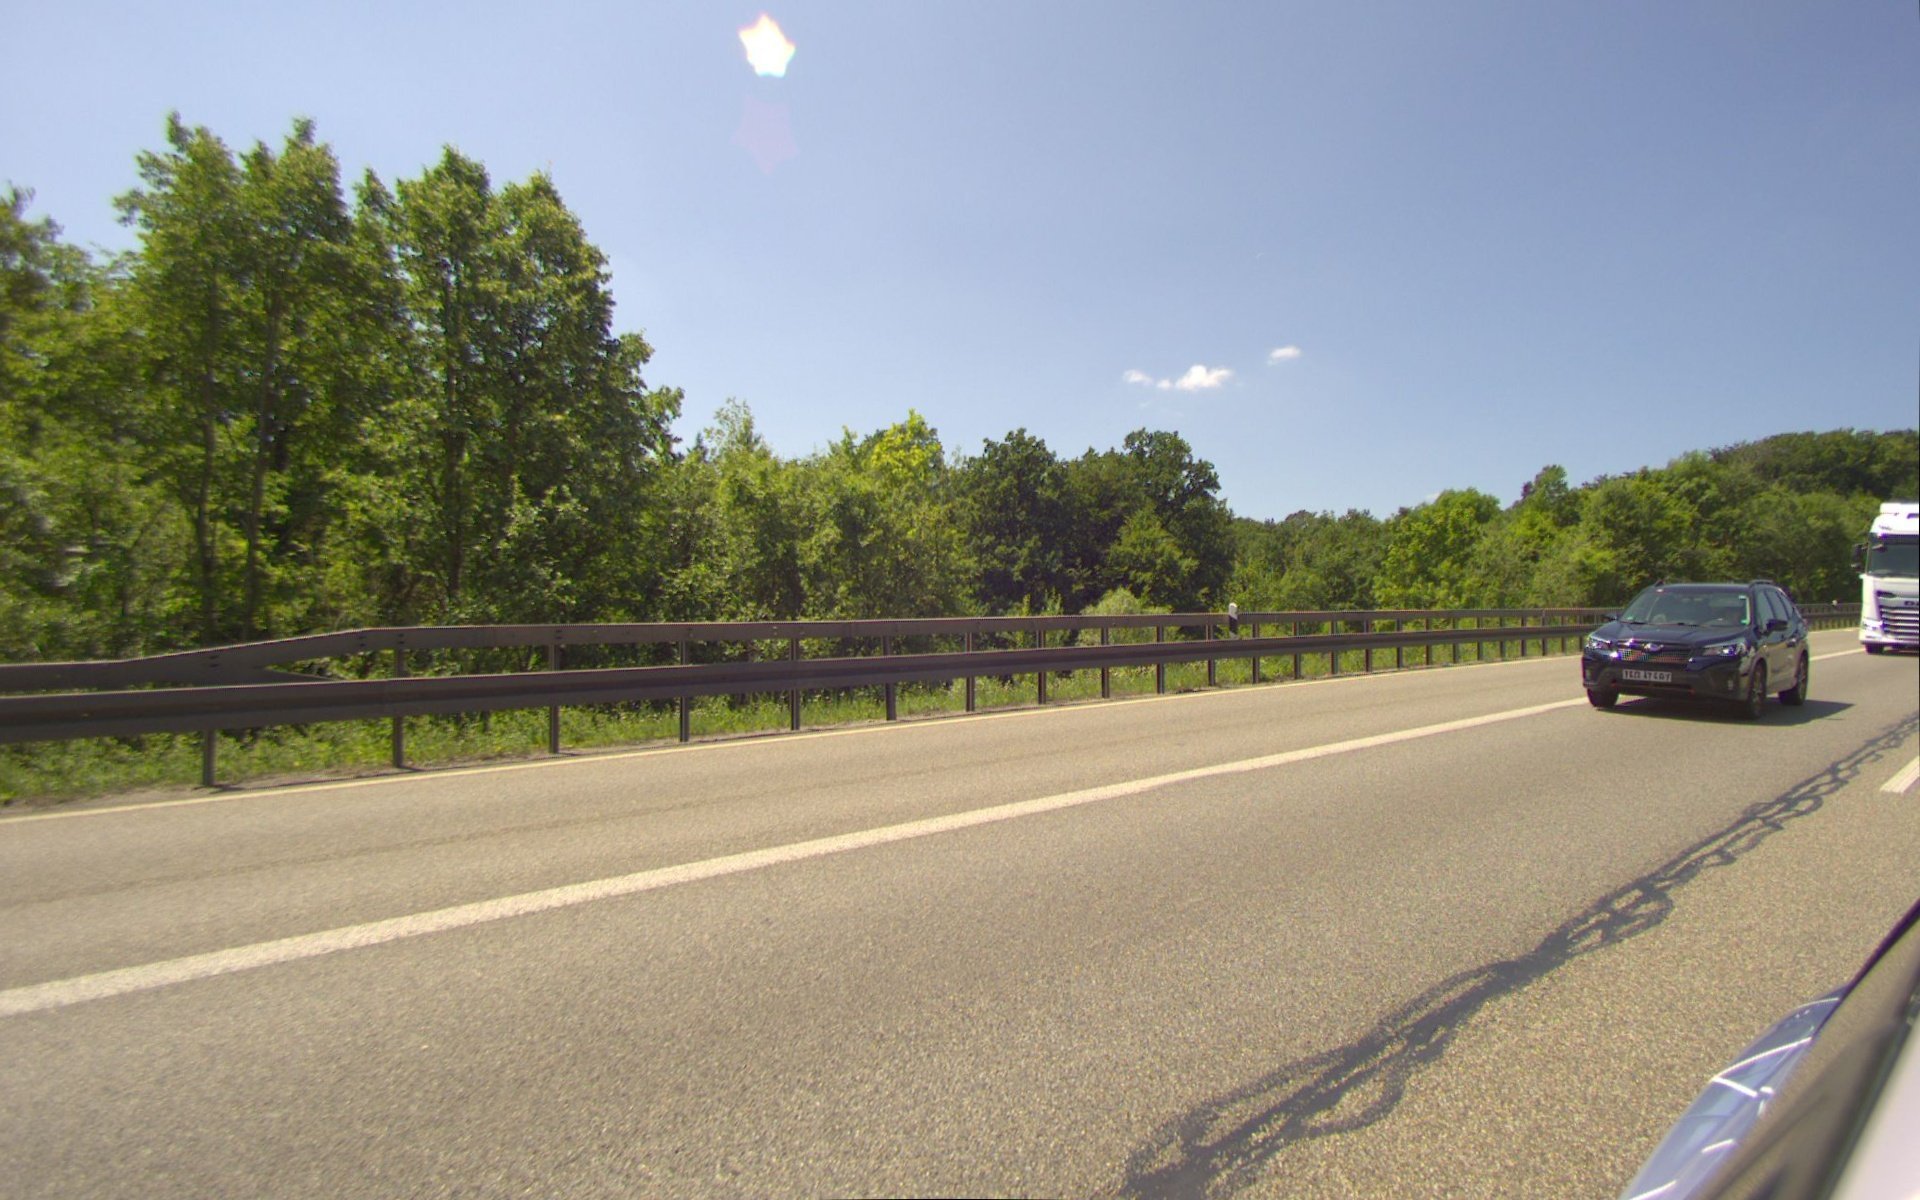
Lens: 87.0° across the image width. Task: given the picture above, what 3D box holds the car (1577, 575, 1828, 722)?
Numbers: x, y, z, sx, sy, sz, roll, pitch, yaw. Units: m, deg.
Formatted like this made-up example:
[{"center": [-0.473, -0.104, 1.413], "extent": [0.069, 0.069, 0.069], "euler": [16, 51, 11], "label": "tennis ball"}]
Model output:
[{"center": [10.084, 0.525, 13.632], "extent": [4.129, 1.688, 1.815], "euler": [-1, 1, -40], "label": "car"}]

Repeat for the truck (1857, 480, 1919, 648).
[{"center": [30.455, -0.995, 30.288], "extent": [15.975, 4.220, 2.790], "euler": [-1, 2, -39], "label": "truck"}]
